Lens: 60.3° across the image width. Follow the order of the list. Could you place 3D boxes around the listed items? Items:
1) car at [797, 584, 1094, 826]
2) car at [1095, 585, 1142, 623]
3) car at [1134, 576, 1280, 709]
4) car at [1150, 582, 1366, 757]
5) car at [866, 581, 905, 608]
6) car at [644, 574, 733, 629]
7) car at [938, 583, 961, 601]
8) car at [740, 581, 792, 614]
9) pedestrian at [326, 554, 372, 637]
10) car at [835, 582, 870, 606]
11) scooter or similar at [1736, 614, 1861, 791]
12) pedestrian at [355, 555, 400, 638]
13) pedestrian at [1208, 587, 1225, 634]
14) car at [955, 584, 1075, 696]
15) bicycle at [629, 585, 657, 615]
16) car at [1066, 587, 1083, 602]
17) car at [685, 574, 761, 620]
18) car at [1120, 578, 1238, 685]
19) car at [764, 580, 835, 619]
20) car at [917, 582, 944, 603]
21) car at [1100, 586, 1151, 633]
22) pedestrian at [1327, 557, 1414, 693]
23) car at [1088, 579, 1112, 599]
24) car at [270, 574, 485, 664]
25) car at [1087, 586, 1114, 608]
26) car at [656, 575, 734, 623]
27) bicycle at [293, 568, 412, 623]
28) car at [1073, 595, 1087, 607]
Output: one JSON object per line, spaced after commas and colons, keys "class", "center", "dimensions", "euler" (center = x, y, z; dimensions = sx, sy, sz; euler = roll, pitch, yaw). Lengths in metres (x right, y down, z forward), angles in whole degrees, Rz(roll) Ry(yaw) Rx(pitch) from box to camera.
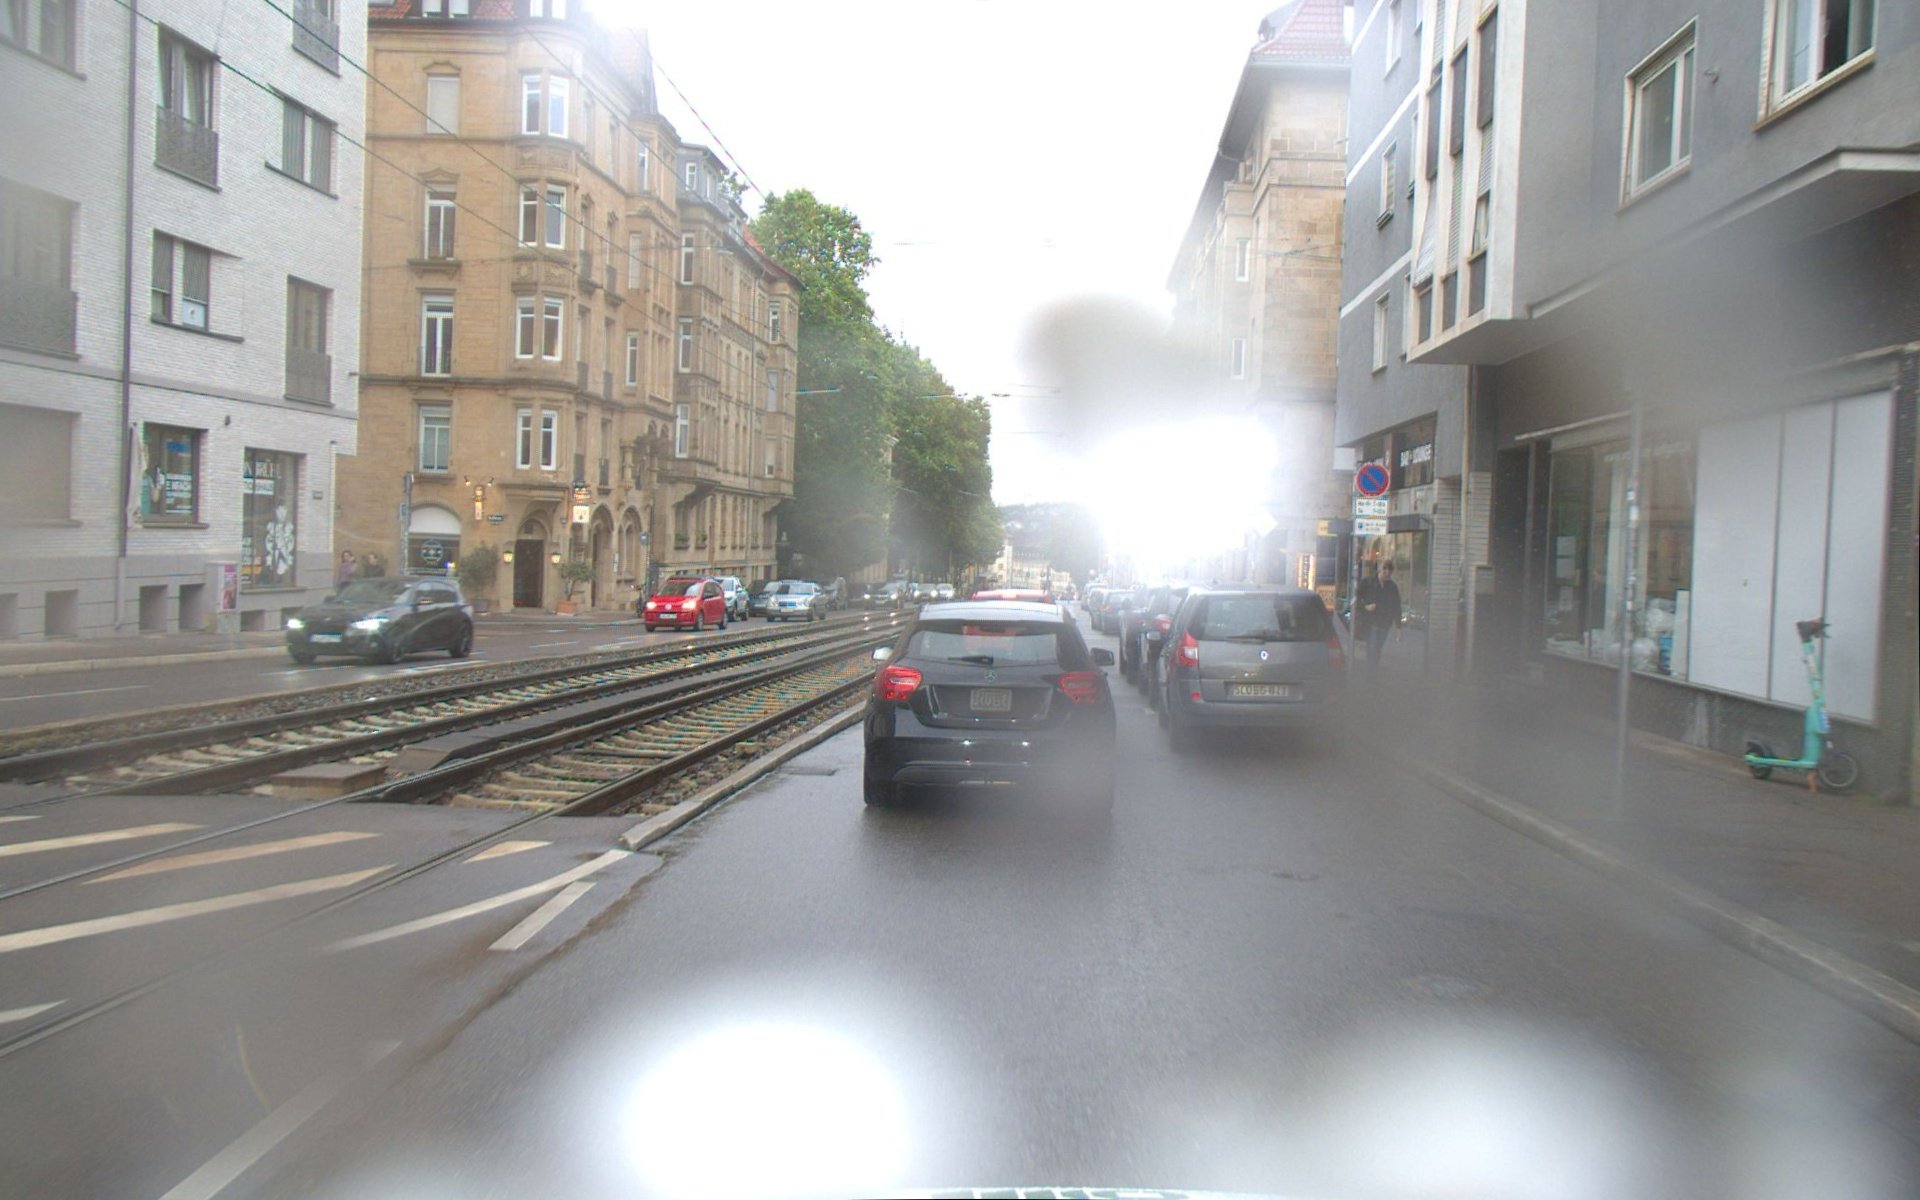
{"class": "car", "center": [0.059, 0.655, 12.697], "dimensions": [1.827, 1.477, 4.003], "euler": [2, 1, 5]}
{"class": "car", "center": [5.805, 0.121, 60.876], "dimensions": [1.579, 1.340, 4.002], "euler": [1, 1, 4]}
{"class": "car", "center": [3.425, 0.531, 23.560], "dimensions": [1.647, 1.699, 4.124], "euler": [1, 1, 3]}
{"class": "car", "center": [3.015, 0.617, 17.606], "dimensions": [1.728, 1.586, 4.748], "euler": [1, 0, 4]}
{"class": "car", "center": [-4.017, -0.299, 89.780], "dimensions": [1.659, 1.413, 3.483], "euler": [1, 1, 5]}
{"class": "car", "center": [-7.834, 0.025, 47.974], "dimensions": [1.645, 1.523, 3.521], "euler": [1, 1, 6]}
{"class": "car", "center": [-0.839, -0.634, 133.686], "dimensions": [1.536, 1.438, 3.483], "euler": [1, 1, 5]}
{"class": "car", "center": [-8.353, -0.123, 71.498], "dimensions": [1.536, 1.339, 3.483], "euler": [1, 1, 5]}
{"class": "pedestrian", "center": [-13.527, -0.090, 36.644], "dimensions": [0.627, 1.818, 0.924], "euler": [0, -1, 3]}
{"class": "car", "center": [-6.559, -0.396, 101.131], "dimensions": [1.536, 1.438, 3.483], "euler": [1, 1, 5]}
{"class": "scooter or similar", "center": [6.305, 0.744, 12.475], "dimensions": [0.387, 1.237, 1.107], "euler": [1, 1, 2]}
{"class": "pedestrian", "center": [-12.878, -0.067, 36.591], "dimensions": [0.616, 1.818, 0.882], "euler": [0, -1, 3]}
{"class": "pedestrian", "center": [8.194, 0.329, 52.768], "dimensions": [0.445, 1.492, 0.611], "euler": [2, 0, 3]}
{"class": "car", "center": [0.885, 0.531, 24.957], "dimensions": [1.615, 1.477, 4.002], "euler": [2, 1, 3]}
{"class": "bicycle", "center": [-11.047, 0.003, 57.690], "dimensions": [0.586, 1.018, 2.079], "euler": [1, 1, 0]}
{"class": "car", "center": [10.504, -0.544, 151.789], "dimensions": [1.579, 1.340, 4.002], "euler": [1, 1, 4]}
{"class": "car", "center": [-8.838, -0.128, 62.015], "dimensions": [1.768, 1.624, 4.528], "euler": [1, 1, 5]}
{"class": "car", "center": [3.740, 0.478, 28.882], "dimensions": [1.713, 1.699, 4.706], "euler": [1, 1, 4]}
{"class": "car", "center": [-5.997, -0.049, 62.263], "dimensions": [1.768, 1.384, 4.766], "euler": [1, 1, 6]}
{"class": "car", "center": [-2.078, -0.517, 117.170], "dimensions": [1.536, 1.438, 3.483], "euler": [1, 1, 5]}
{"class": "car", "center": [5.540, 0.283, 55.697], "dimensions": [1.588, 1.510, 4.002], "euler": [1, 1, 4]}
{"class": "pedestrian", "center": [5.638, 0.328, 22.770], "dimensions": [0.925, 1.800, 1.015], "euler": [1, 1, 2]}
{"class": "car", "center": [9.457, -0.739, 111.993], "dimensions": [1.579, 1.340, 4.002], "euler": [1, 1, 4]}
{"class": "car", "center": [-9.823, 0.272, 28.256], "dimensions": [1.907, 1.421, 4.276], "euler": [0, 1, 4]}
{"class": "car", "center": [8.865, -0.177, 104.501], "dimensions": [1.579, 1.340, 4.002], "euler": [1, 1, 4]}
{"class": "car", "center": [-9.079, -0.050, 56.966], "dimensions": [1.686, 1.568, 3.936], "euler": [1, 1, 5]}
{"class": "bicycle", "center": [-18.380, -0.151, 50.156], "dimensions": [3.087, 1.612, 1.595], "euler": [1, 0, -8]}
{"class": "car", "center": [13.871, 0.066, 190.891], "dimensions": [1.579, 1.340, 4.002], "euler": [1, 1, 4]}
